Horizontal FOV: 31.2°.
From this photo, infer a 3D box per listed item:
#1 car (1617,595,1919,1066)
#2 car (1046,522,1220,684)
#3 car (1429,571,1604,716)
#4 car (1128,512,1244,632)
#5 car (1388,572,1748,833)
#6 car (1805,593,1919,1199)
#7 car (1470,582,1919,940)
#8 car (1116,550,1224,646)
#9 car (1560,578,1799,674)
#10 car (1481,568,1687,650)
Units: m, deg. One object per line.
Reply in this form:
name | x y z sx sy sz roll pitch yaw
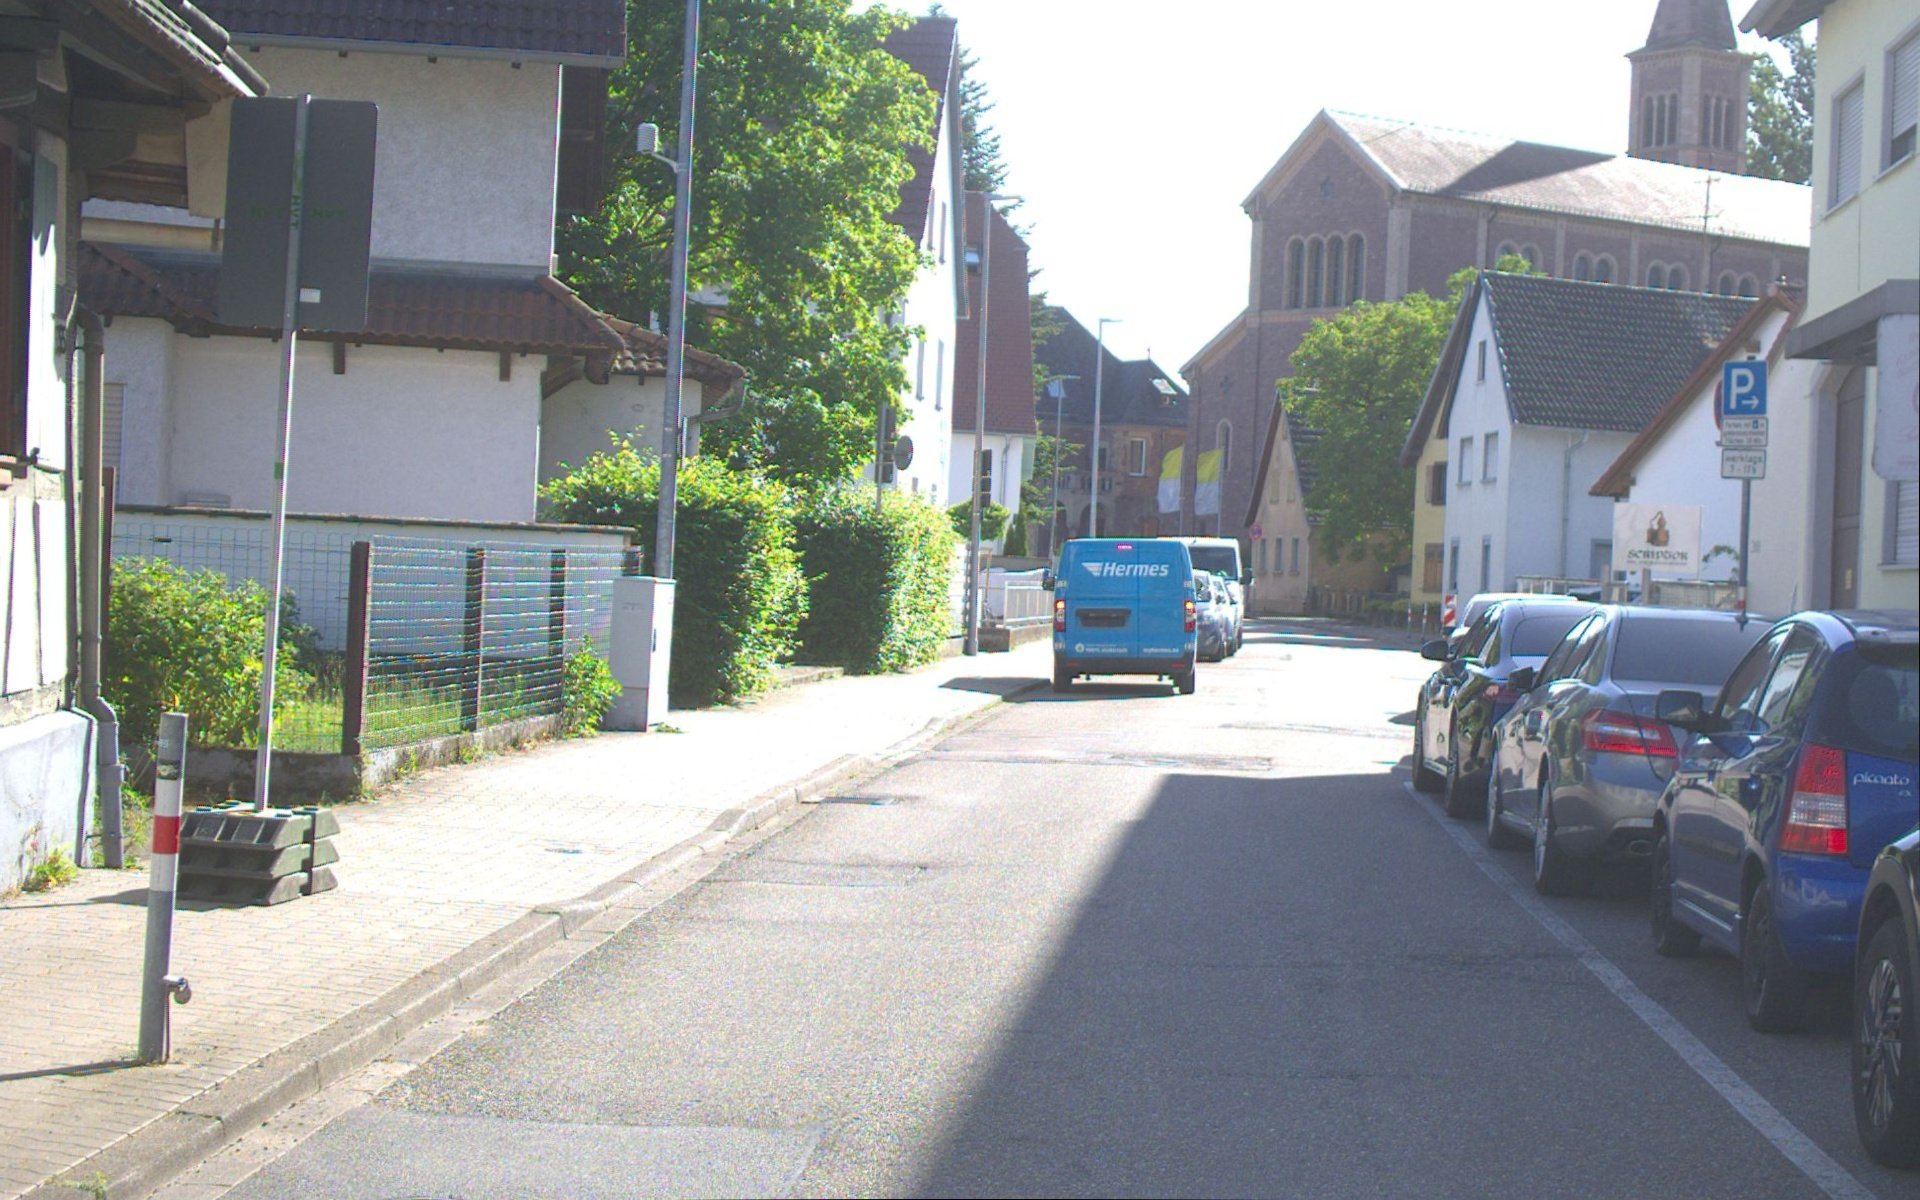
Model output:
car | 3.648 0.791 13.072 1.725 1.470 3.874 4 1 4
car | 2.274 0.015 43.950 1.903 1.911 5.069 2 1 6
car | 6.489 0.468 39.965 1.812 1.470 4.658 4 1 10
car | 4.807 -0.588 72.260 2.197 2.382 6.063 1 1 6
car | 4.022 0.634 23.484 1.808 1.470 4.843 4 0 4
car | 3.152 0.815 7.674 1.610 1.515 3.971 4 1 3
car | 3.751 0.714 17.669 1.808 1.470 4.444 4 1 4
car | 3.738 -0.047 60.644 1.715 1.593 3.924 2 1 6
car | 13.740 0.493 65.674 4.035 1.682 1.912 2 1 -22
car | 12.565 0.176 69.200 3.915 1.487 1.846 2 0 15
